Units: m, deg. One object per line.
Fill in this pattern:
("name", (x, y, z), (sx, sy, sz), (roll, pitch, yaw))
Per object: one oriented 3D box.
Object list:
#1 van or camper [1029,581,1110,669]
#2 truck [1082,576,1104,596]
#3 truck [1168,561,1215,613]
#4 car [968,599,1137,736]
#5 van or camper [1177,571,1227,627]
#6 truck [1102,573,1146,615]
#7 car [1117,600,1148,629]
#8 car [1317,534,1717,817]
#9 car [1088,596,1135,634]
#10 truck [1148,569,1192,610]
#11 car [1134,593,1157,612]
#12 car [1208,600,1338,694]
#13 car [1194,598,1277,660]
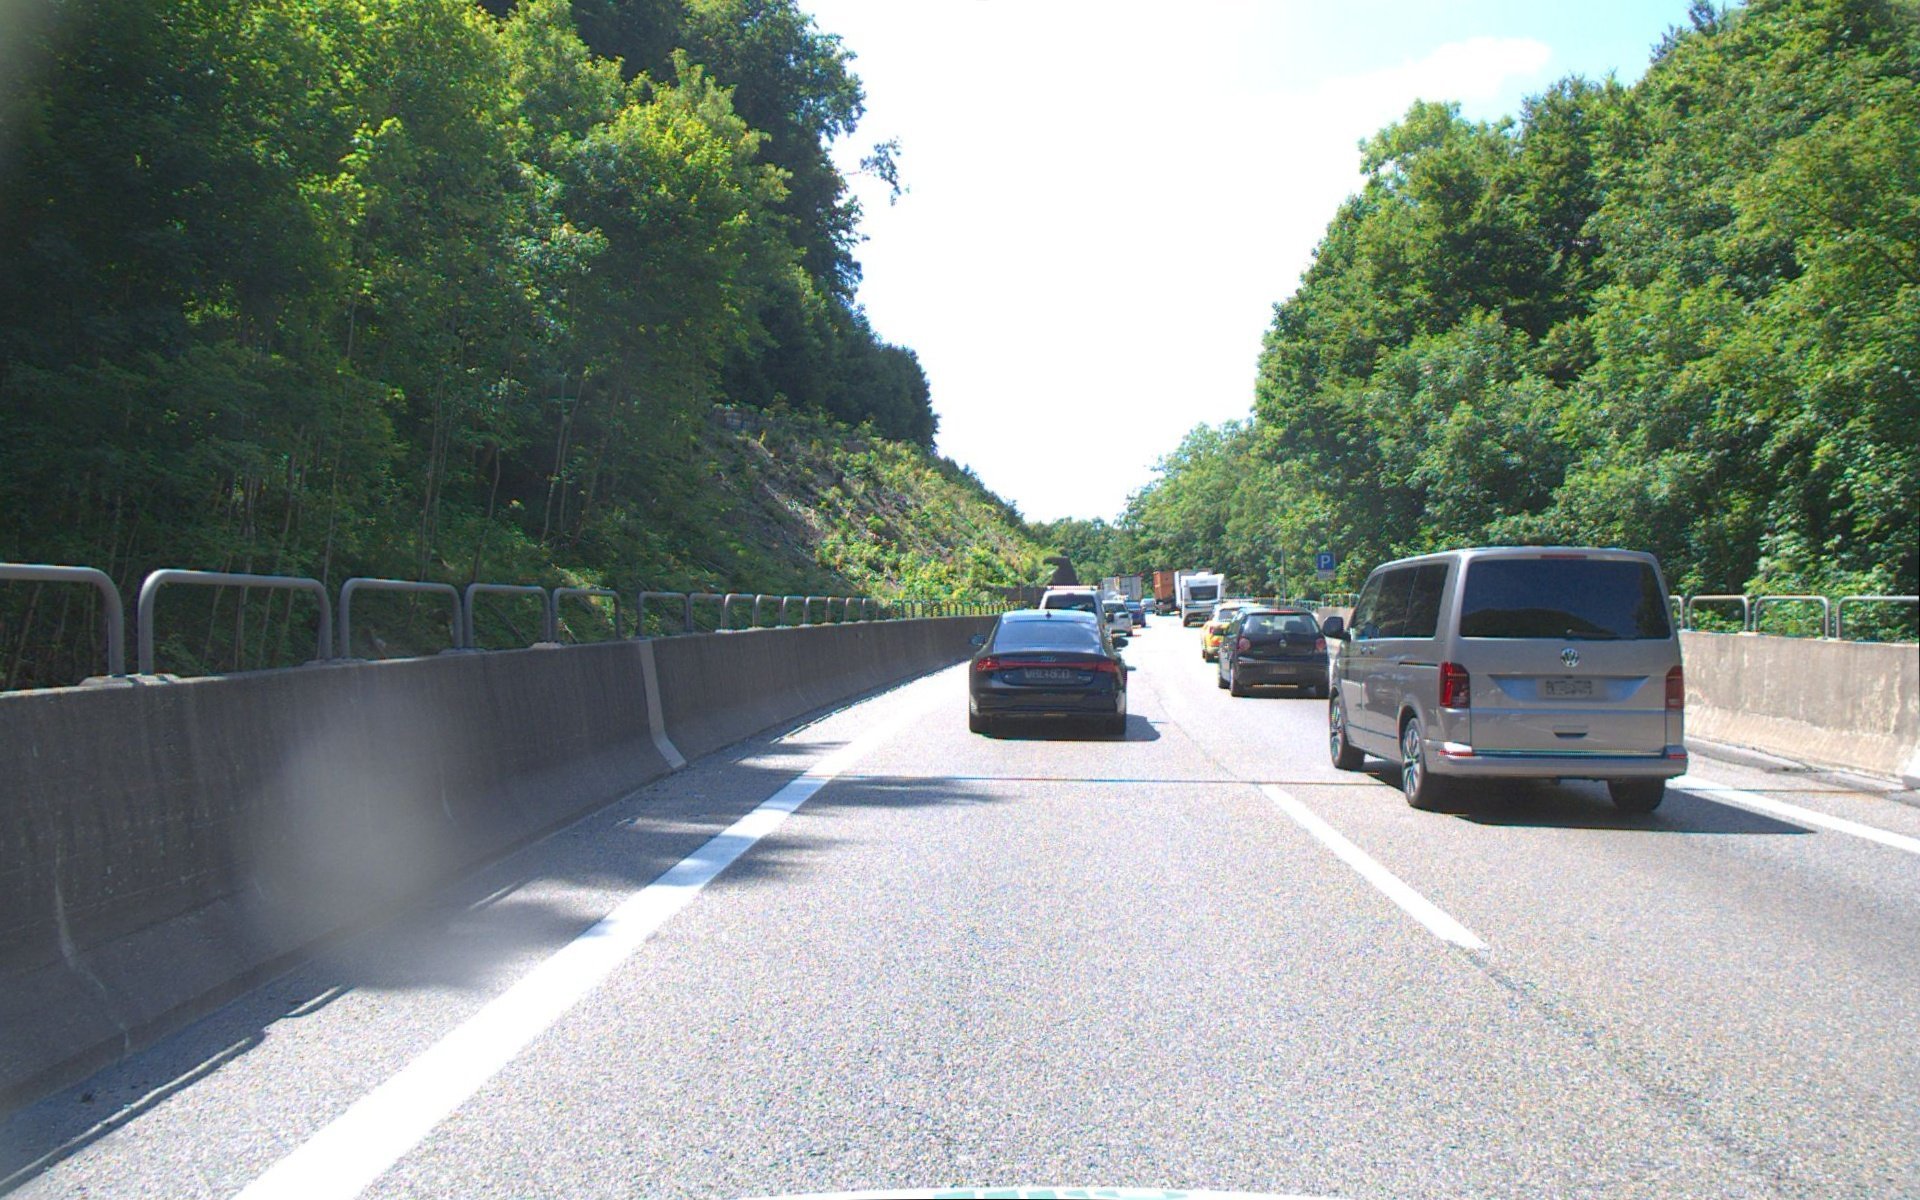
("van or camper", (2.641, 0.572, 39.180), (1.814, 1.976, 4.167), (0, 0, 5))
("truck", (14.290, -1.482, 178.010), (1.953, 2.049, 4.000), (0, 0, 0))
("truck", (17.413, -0.929, 124.675), (2.864, 3.752, 7.727), (0, 0, 3))
("car", (1.065, 0.750, 20.484), (1.865, 1.515, 4.379), (0, 0, 1))
("van or camper", (12.891, -0.040, 88.319), (2.548, 2.905, 6.340), (0, 0, 7))
("truck", (18.331, -0.629, 185.307), (3.636, 4.583, 7.719), (0, 0, -3))
("car", (9.819, 0.821, 94.299), (1.714, 1.598, 3.773), (0, 0, 6))
("car", (4.390, 0.531, 13.893), (1.900, 1.965, 4.695), (0, 0, 2))
("car", (6.537, 0.634, 71.548), (1.855, 1.612, 3.772), (0, 0, 2))
("truck", (18.551, -0.932, 146.433), (3.098, 3.529, 8.223), (0, 0, 1))
("car", (18.637, 0.202, 166.507), (1.952, 1.892, 4.001), (0, 0, 1))
("car", (5.266, 0.748, 28.242), (1.650, 1.484, 4.001), (0, 0, 3))
("car", (6.978, 0.712, 42.234), (1.770, 1.503, 4.084), (0, 0, 5))
